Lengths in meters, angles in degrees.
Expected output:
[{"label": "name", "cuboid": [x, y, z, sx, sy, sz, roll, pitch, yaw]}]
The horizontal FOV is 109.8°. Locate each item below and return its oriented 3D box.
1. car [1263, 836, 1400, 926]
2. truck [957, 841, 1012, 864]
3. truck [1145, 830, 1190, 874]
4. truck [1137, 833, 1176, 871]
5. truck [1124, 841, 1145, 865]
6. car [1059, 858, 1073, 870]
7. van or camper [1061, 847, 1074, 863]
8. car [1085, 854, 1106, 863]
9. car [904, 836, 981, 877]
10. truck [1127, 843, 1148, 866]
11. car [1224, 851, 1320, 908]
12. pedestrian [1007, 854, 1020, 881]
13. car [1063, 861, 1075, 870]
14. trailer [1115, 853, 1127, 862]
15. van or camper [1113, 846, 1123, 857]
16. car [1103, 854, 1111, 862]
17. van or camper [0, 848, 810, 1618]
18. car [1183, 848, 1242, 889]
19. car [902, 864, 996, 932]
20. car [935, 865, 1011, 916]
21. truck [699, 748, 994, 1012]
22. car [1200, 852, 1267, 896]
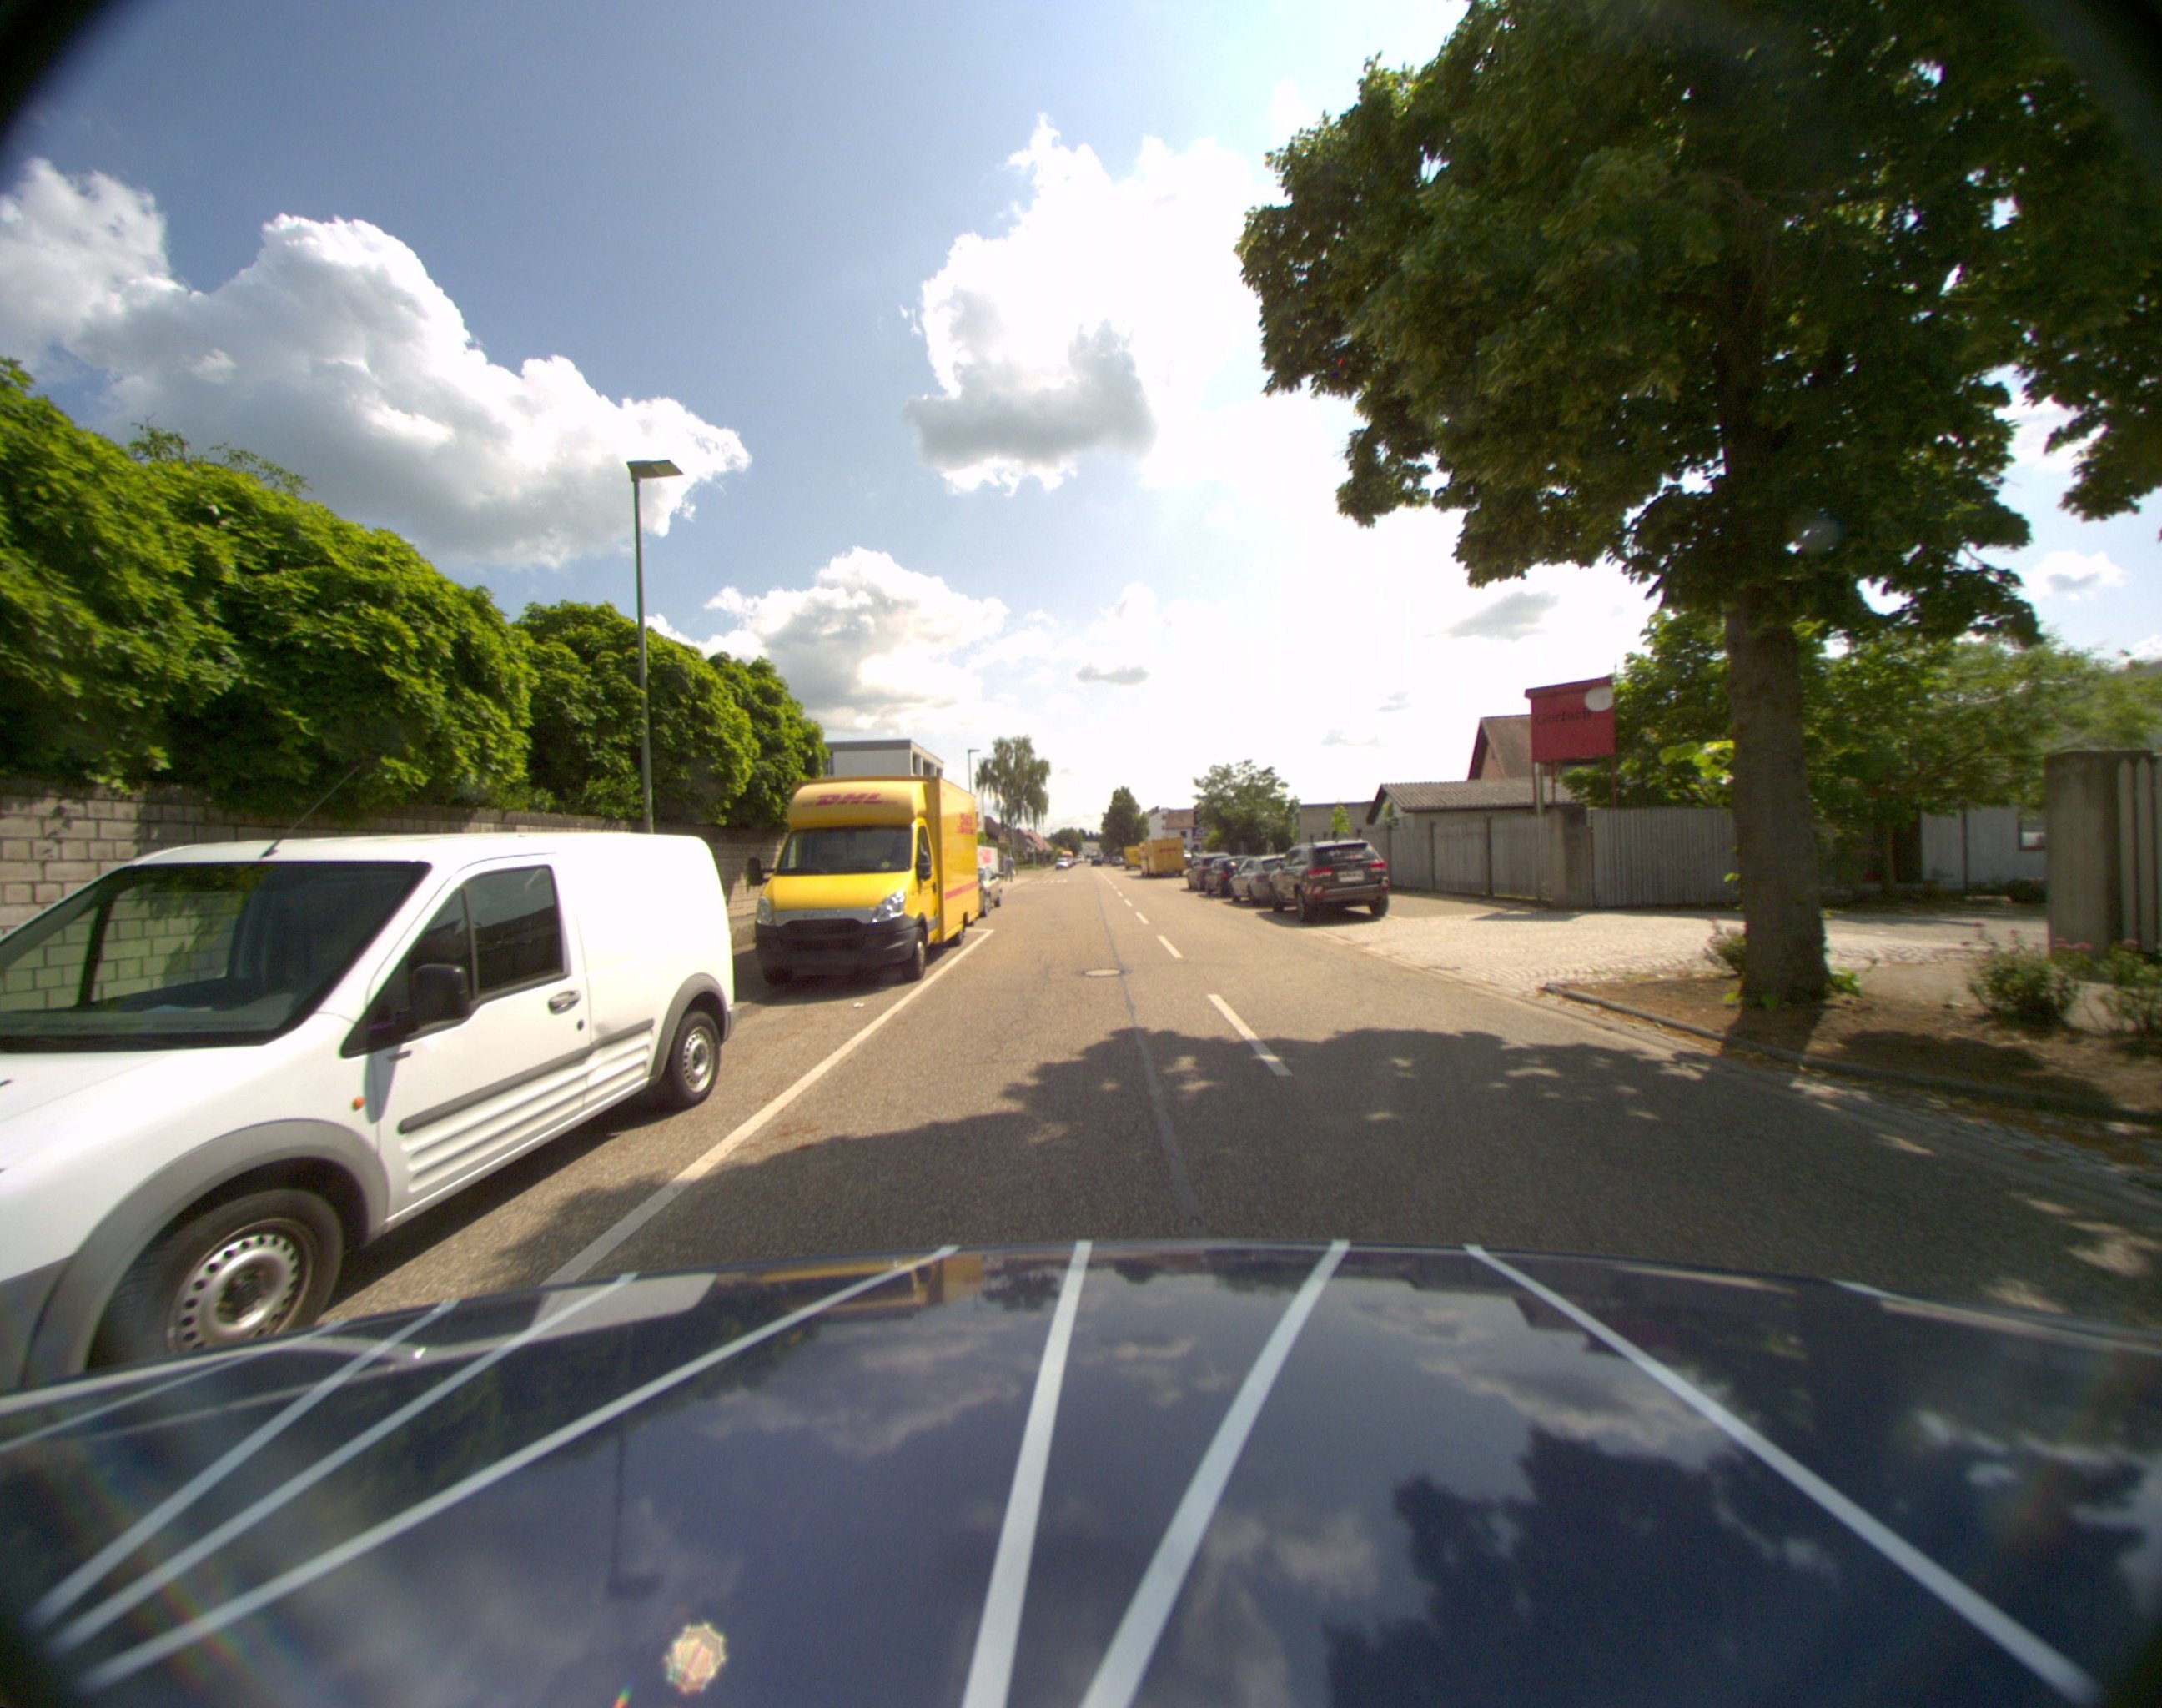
[{"label": "car", "cuboid": [5.910, 0.551, 18.557, 1.923, 1.811, 4.786, -3, 1, 3]}, {"label": "truck", "cuboid": [-11.758, -0.211, 92.578, 6.067, 2.562, 2.561, -2, 0, -26]}, {"label": "truck", "cuboid": [6.148, -0.152, 54.809, 2.322, 2.846, 7.104, -4, 0, 0]}, {"label": "truck", "cuboid": [6.081, -0.093, 62.063, 2.275, 2.837, 7.175, -3, 0, 0]}, {"label": "truck", "cuboid": [6.687, -0.152, 95.664, 2.226, 2.840, 7.070, -3, 0, 2]}, {"label": "car", "cuboid": [-2.079, 1.342, 104.283, 1.614, 1.571, 4.000, -3, 0, 2]}, {"label": "van or camper", "cuboid": [-2.302, 0.135, 128.542, 1.999, 2.648, 5.768, -2, 0, -1]}, {"label": "car", "cuboid": [2.494, 0.813, 131.865, 2.002, 1.386, 4.585, -3, 0, -22]}, {"label": "car", "cuboid": [-9.279, 0.155, 51.252, 4.922, 2.636, 2.072, -1, 0, -7]}, {"label": "truck", "cuboid": [6.554, 0.040, 88.490, 1.998, 2.399, 6.065, -3, 0, 2]}, {"label": "car", "cuboid": [5.886, 0.727, 23.976, 1.737, 1.509, 4.742, -4, 0, 0]}, {"label": "pedestrian", "cuboid": [-4.383, 0.857, 49.324, 0.717, 1.687, 0.522, 4, 0, -4]}, {"label": "car", "cuboid": [-1.880, 1.706, 115.959, 1.673, 1.327, 4.438, -2, 0, 0]}, {"label": "trailer", "cuboid": [6.689, 0.629, 127.707, 1.766, 1.282, 4.508, -5, 0, 1]}, {"label": "van or camper", "cuboid": [8.184, -0.508, 167.474, 1.998, 2.303, 5.934, -2, 0, 3]}, {"label": "car", "cuboid": [6.574, 0.944, 193.959, 1.814, 1.795, 4.491, -5, 0, 0]}, {"label": "van or camper", "cuboid": [-3.387, 0.906, 3.964, 1.763, 1.795, 5.587, -2, 0, 1]}, {"label": "car", "cuboid": [5.933, 0.615, 34.754, 1.729, 1.595, 4.413, -5, 0, -1]}, {"label": "car", "cuboid": [-3.276, 1.038, 19.624, 1.666, 1.433, 4.282, -3, 0, -1]}, {"label": "car", "cuboid": [-3.376, 1.100, 24.539, 1.656, 1.378, 4.423, -3, 0, 1]}, {"label": "truck", "cuboid": [-3.091, 0.289, 12.307, 2.481, 2.923, 7.187, -3, 0, -1]}, {"label": "car", "cuboid": [5.861, 0.714, 29.582, 1.632, 1.440, 4.026, -6, 0, -1]}]
